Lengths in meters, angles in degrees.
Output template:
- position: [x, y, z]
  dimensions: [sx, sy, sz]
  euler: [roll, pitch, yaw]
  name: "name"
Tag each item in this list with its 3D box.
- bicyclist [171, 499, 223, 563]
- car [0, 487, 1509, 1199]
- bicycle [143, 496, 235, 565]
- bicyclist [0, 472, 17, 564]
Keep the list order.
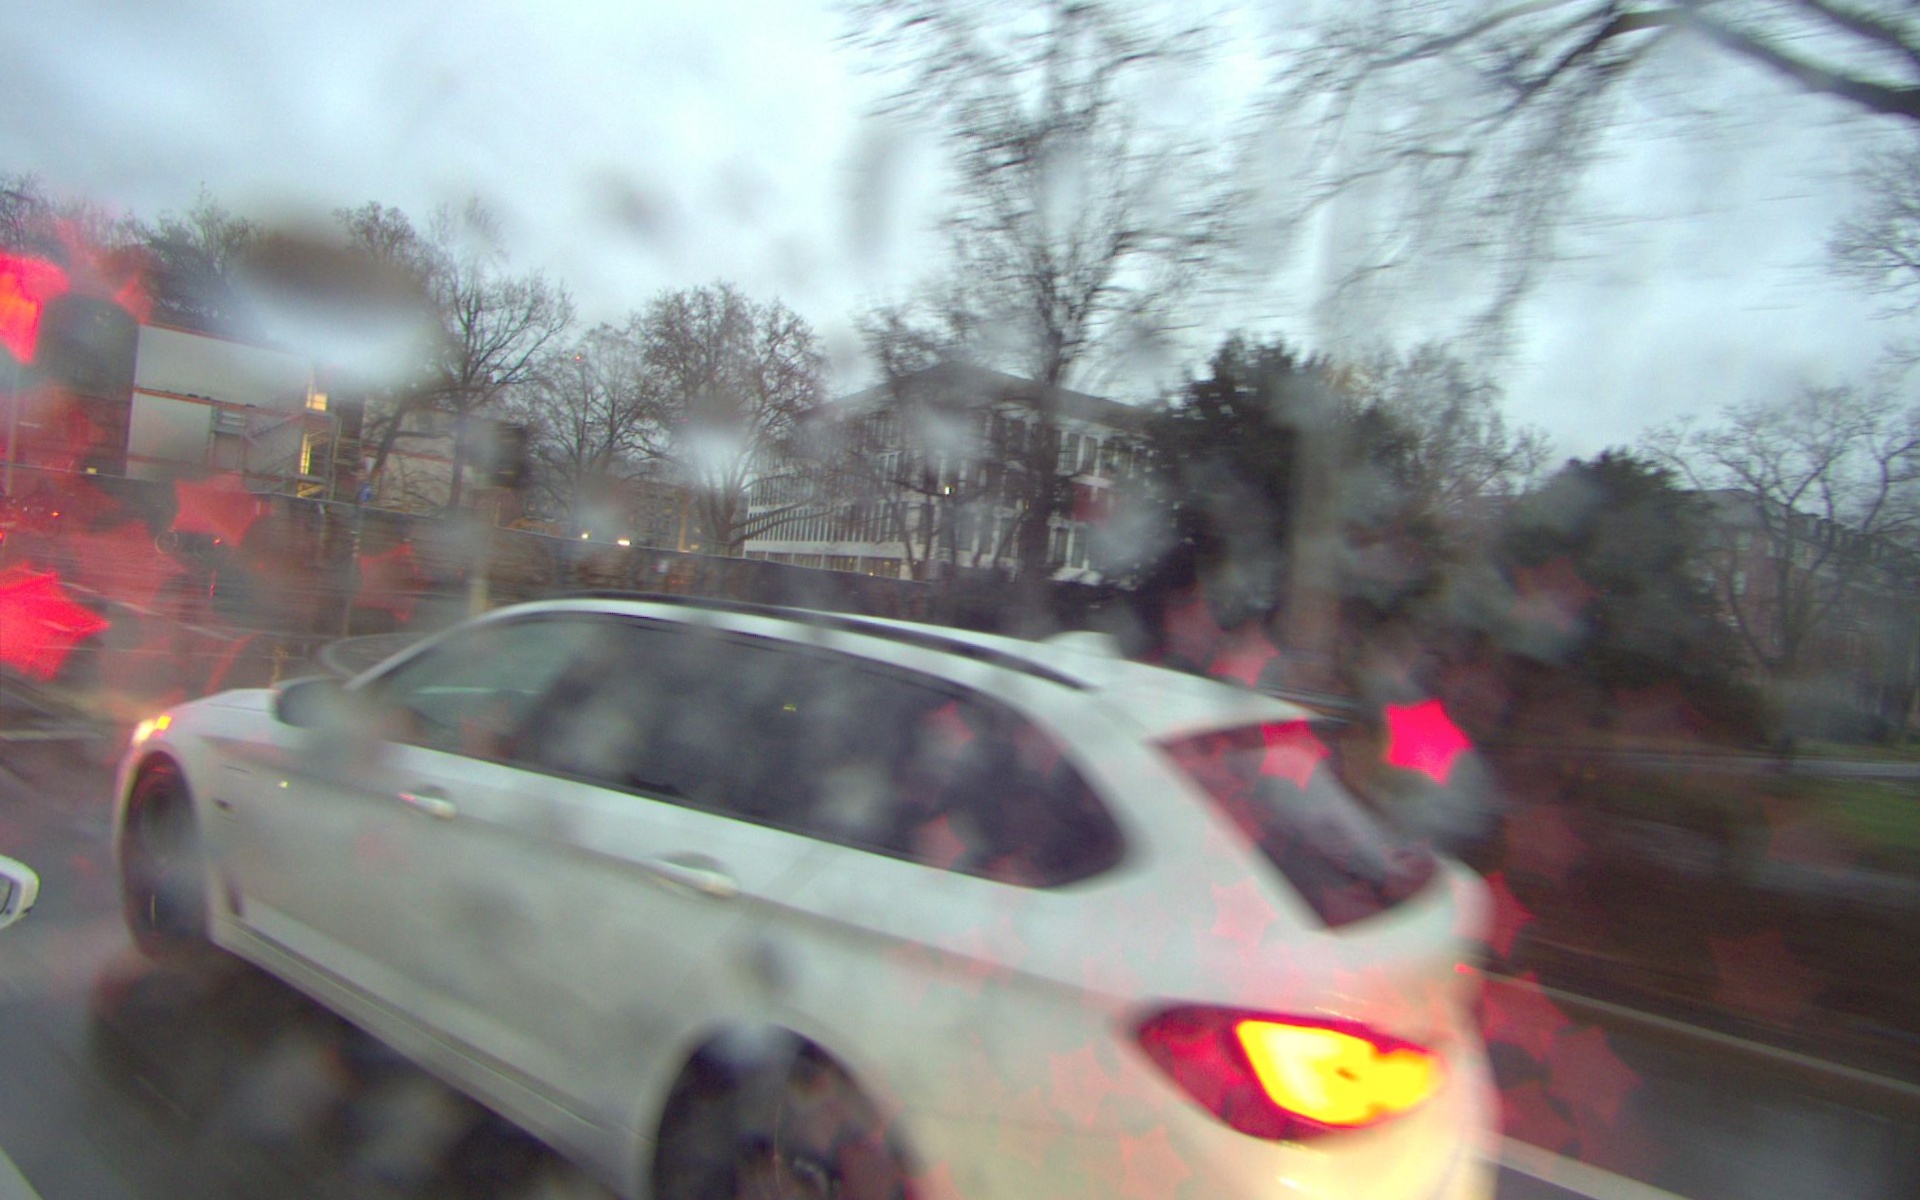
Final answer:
- position: [-22.216, -2.007, 29.301]
  dimensions: [0.802, 1.700, 0.697]
  euler: [7, 1, 12]
  name: "bicyclist"
- position: [-1.055, 0.636, 3.343]
  dimensions: [4.884, 1.519, 1.791]
  euler: [6, -2, 31]
  name: "car"
- position: [-22.527, -2.026, 29.395]
  dimensions: [2.204, 1.676, 0.691]
  euler: [7, -1, 11]
  name: "bicycle"
- position: [-19.167, -1.661, 19.841]
  dimensions: [0.823, 1.789, 0.500]
  euler: [7, 1, 29]
  name: "bicyclist"
